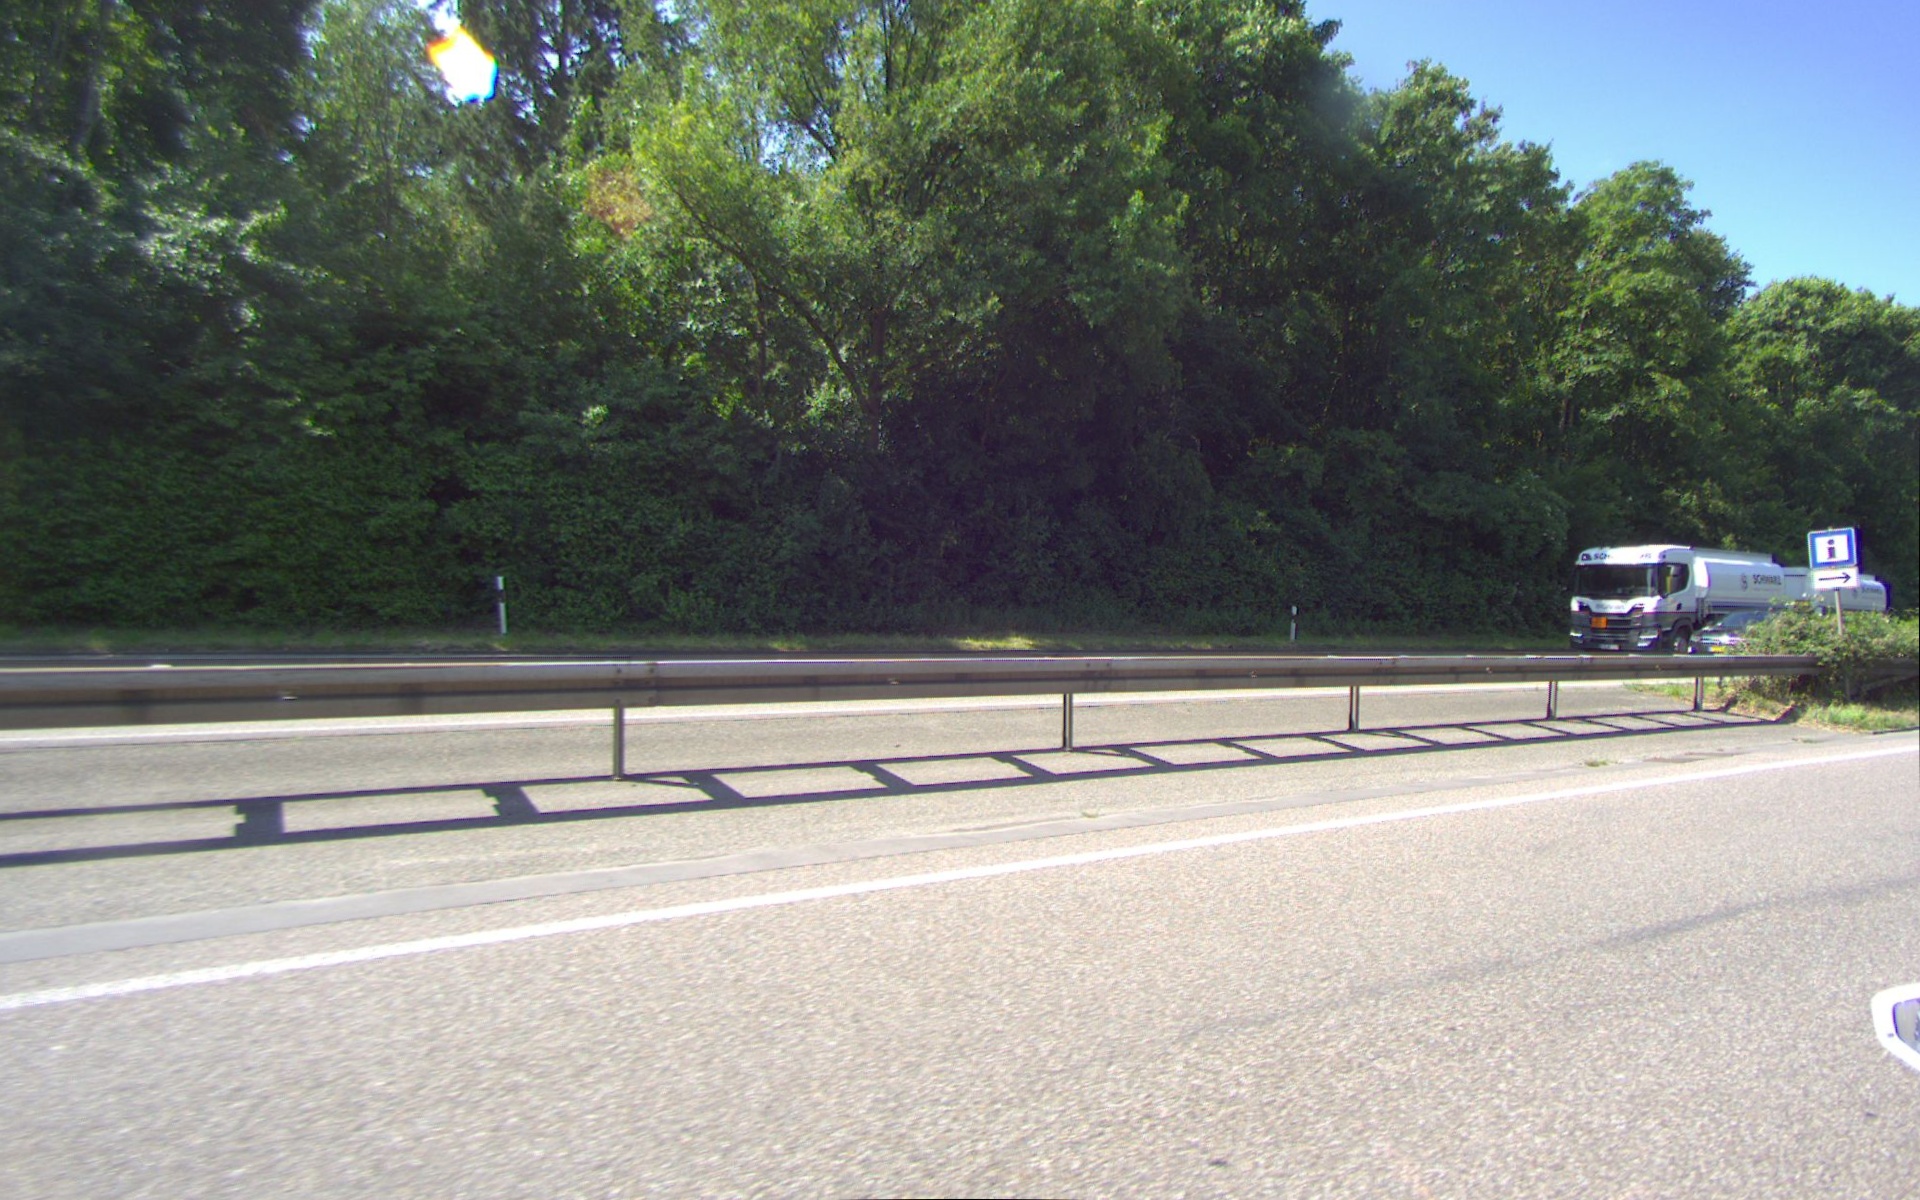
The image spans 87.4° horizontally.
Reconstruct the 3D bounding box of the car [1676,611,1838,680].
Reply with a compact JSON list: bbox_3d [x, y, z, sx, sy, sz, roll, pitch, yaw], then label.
[{"bbox_3d":[19.542,1.095,24.586,4.195,1.500,1.714,2,0,-31],"label":"car"}]

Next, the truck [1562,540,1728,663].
[{"bbox_3d":[19.777,0.062,29.009,3.953,3.302,2.413,2,0,-30],"label":"truck"}]

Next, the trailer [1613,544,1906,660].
[{"bbox_3d":[26.626,0.220,32.995,14.262,3.278,2.480,2,0,-30],"label":"trailer"}]
